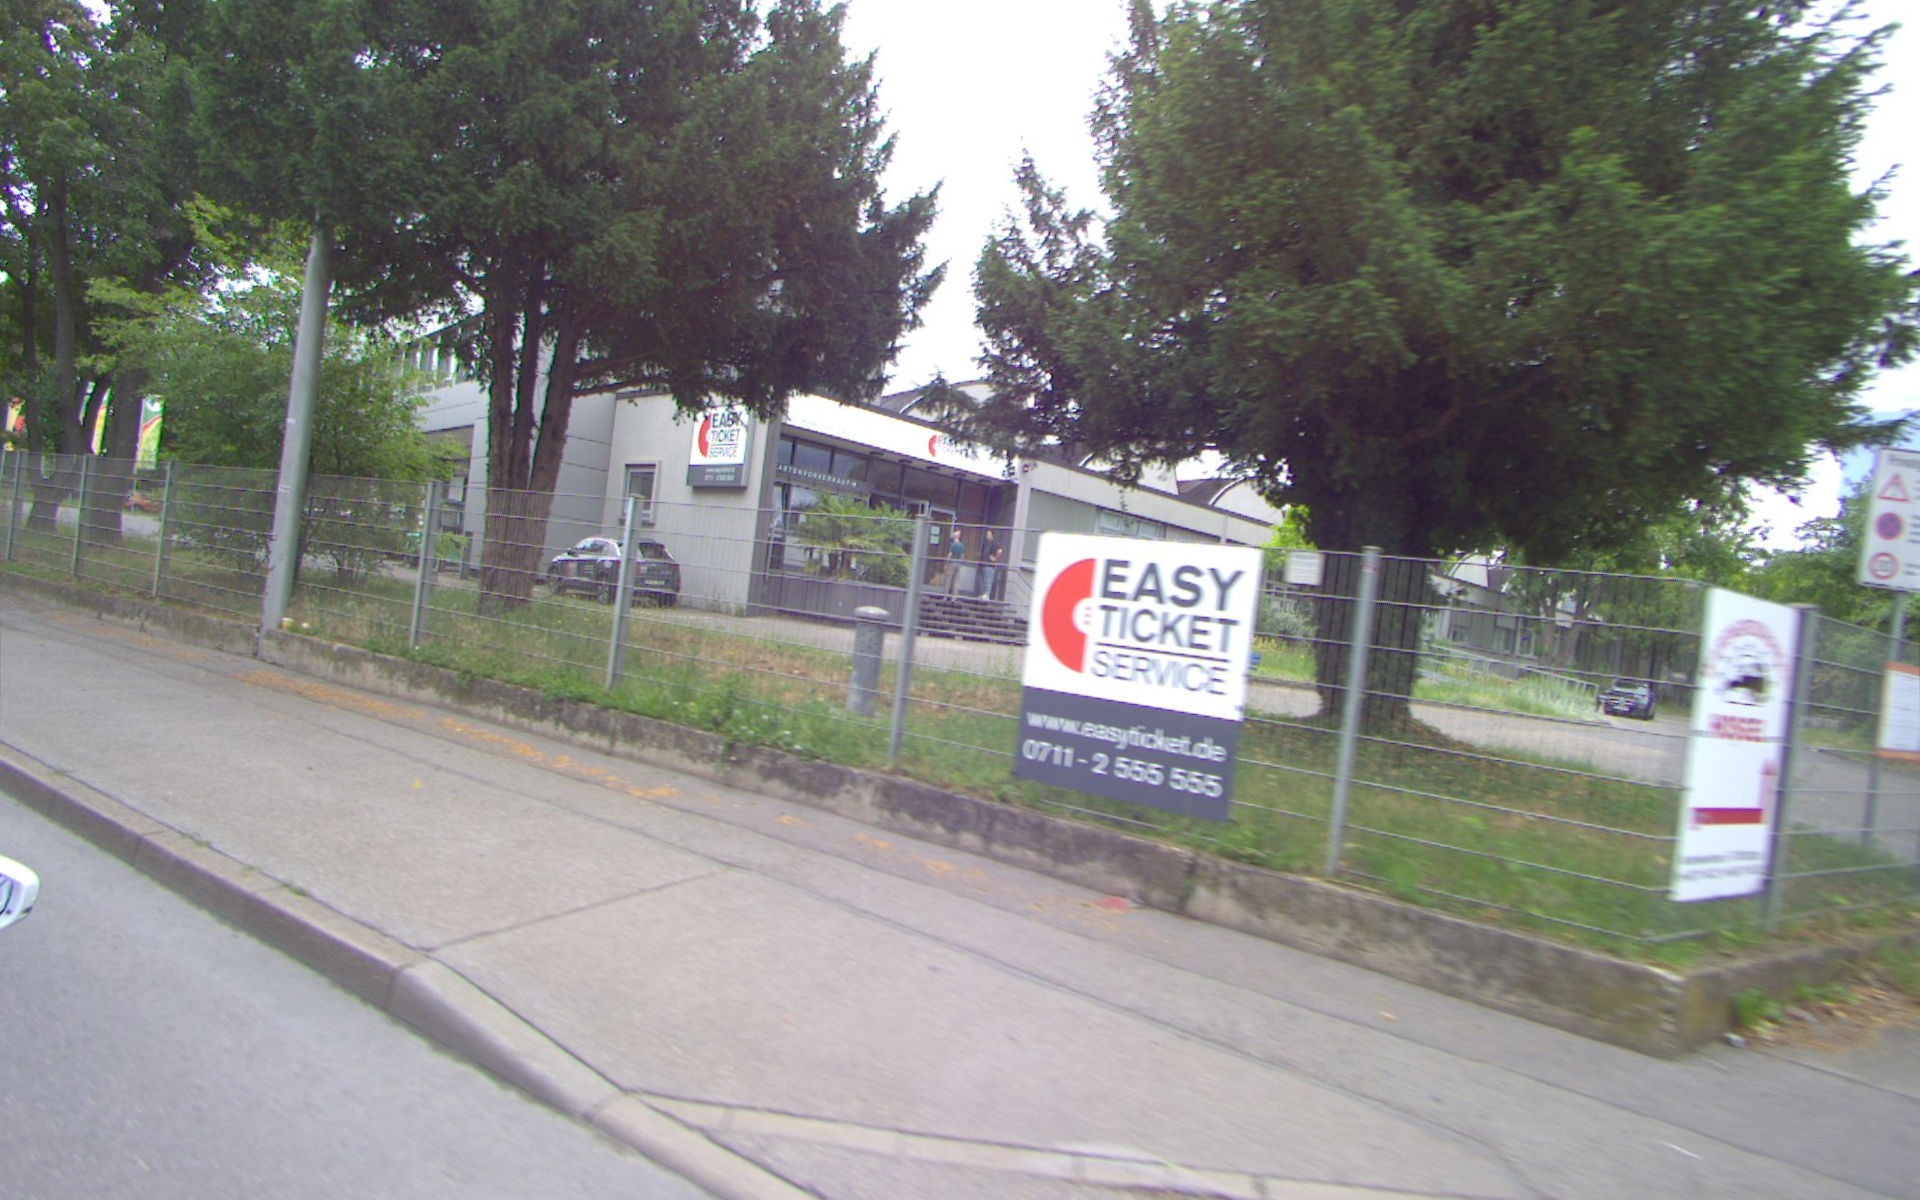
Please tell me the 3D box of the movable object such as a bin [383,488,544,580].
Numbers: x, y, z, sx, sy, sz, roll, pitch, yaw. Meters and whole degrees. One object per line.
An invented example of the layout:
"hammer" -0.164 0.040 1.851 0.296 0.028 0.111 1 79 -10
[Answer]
"movable object such as a bin" -15.588 -2.045 31.701 1.926 2.334 3.977 8 1 43

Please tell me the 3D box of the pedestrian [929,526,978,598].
"pedestrian" -0.171 -0.989 26.302 0.907 1.774 0.793 6 1 -19

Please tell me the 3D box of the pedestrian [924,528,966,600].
"pedestrian" -0.423 -0.997 27.973 0.736 1.910 0.690 6 2 -24

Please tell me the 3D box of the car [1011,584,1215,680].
"car" 3.553 0.729 24.001 1.987 1.633 4.386 6 2 -43

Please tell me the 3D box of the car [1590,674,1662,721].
"car" 27.374 3.959 41.285 1.970 1.540 4.423 8 1 38

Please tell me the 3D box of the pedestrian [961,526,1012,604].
"pedestrian" 0.740 -0.960 27.863 0.791 2.039 0.910 5 2 -41

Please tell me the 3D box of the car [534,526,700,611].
"car" -8.410 -0.795 24.455 4.383 1.588 1.987 8 4 44
